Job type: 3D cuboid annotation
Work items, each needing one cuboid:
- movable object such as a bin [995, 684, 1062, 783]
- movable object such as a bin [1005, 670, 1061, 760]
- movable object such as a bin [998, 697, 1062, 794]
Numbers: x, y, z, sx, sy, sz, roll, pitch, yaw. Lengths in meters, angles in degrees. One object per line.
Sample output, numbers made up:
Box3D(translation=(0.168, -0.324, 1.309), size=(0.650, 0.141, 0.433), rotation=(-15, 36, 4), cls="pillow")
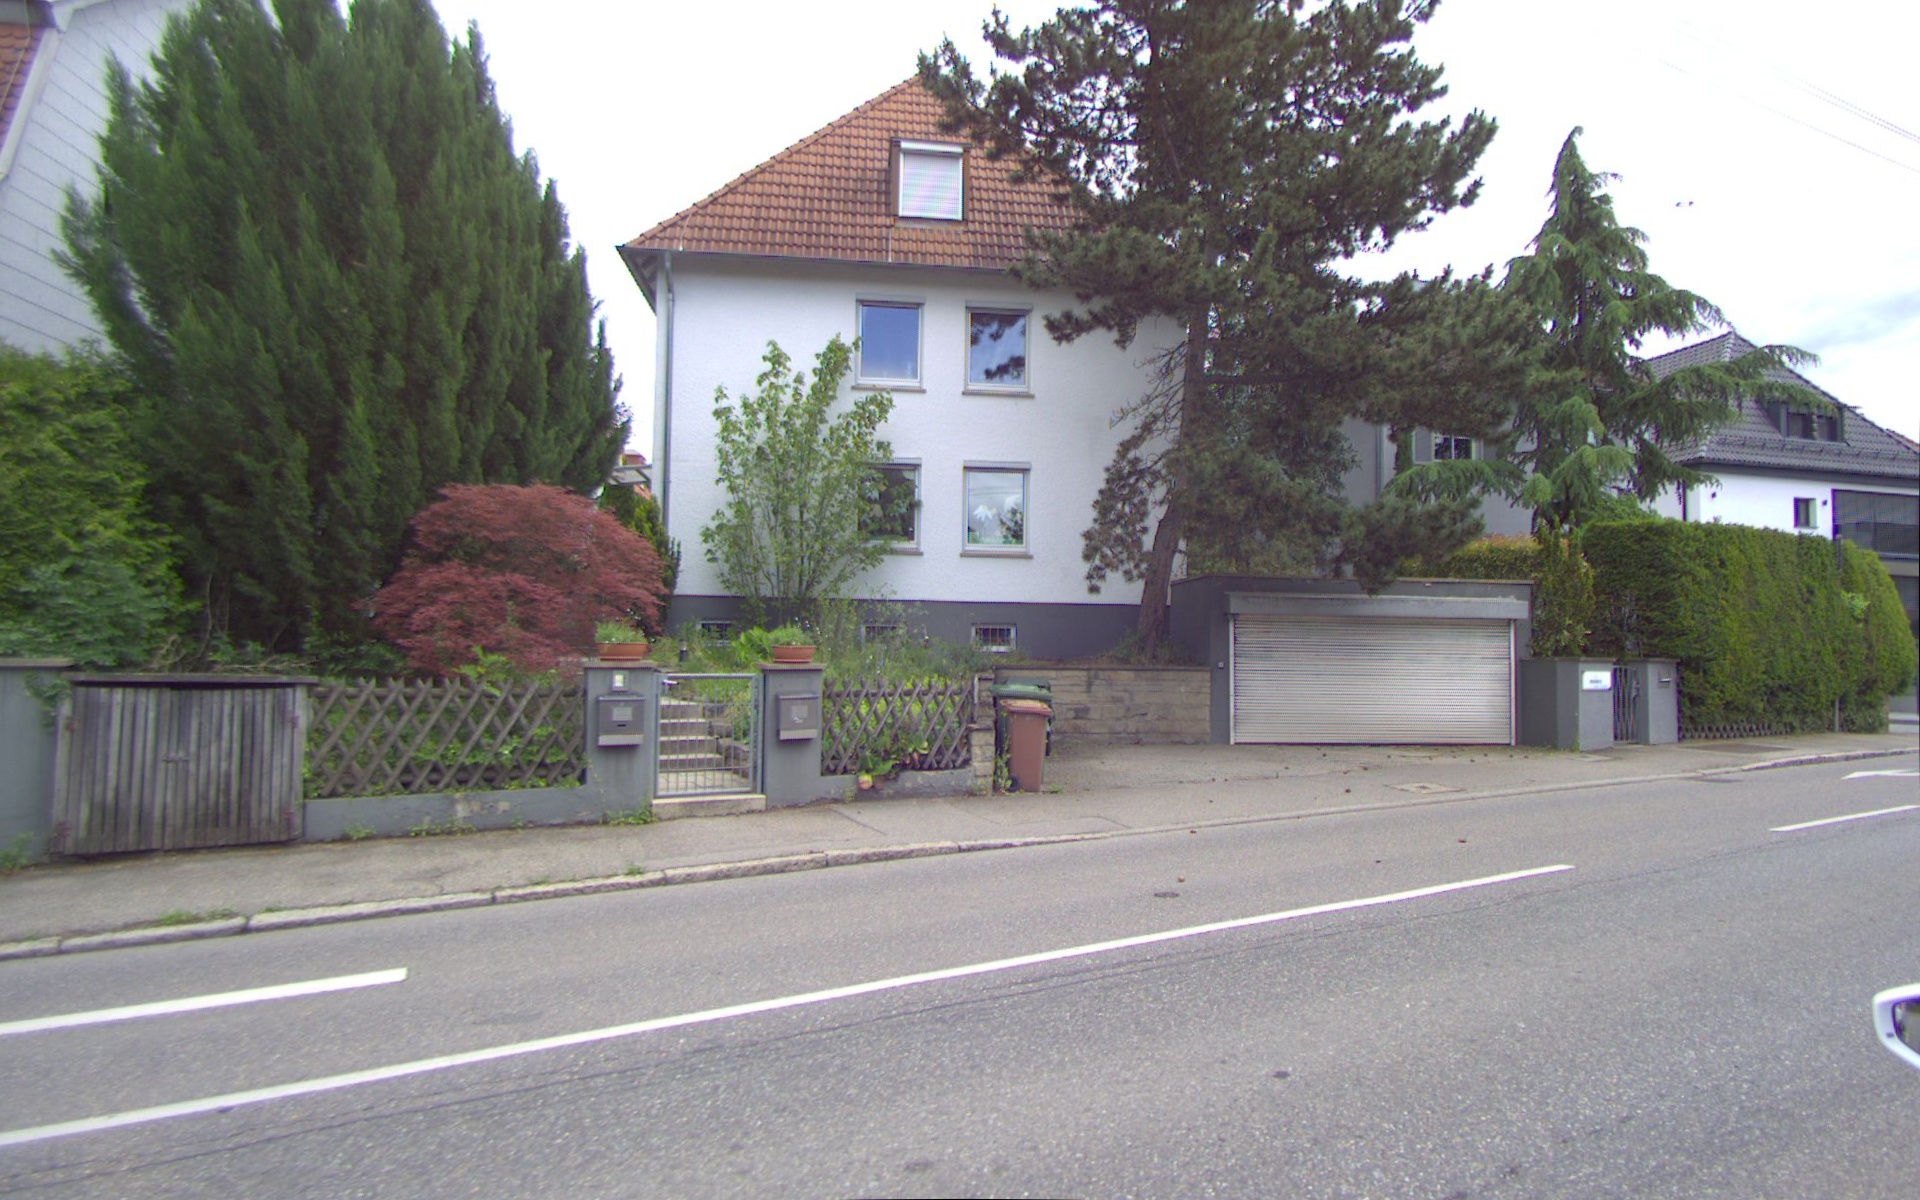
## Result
Box3D(translation=(0.755, 1.481, 11.231), size=(0.702, 1.048, 0.480), rotation=(1, -2, 0), cls="movable object such as a bin")
Box3D(translation=(0.983, 1.550, 13.871), size=(0.702, 1.095, 1.598), rotation=(1, -2, 3), cls="movable object such as a bin")
Box3D(translation=(0.732, 1.529, 10.640), size=(0.634, 0.954, 0.465), rotation=(1, -2, 0), cls="movable object such as a bin")
